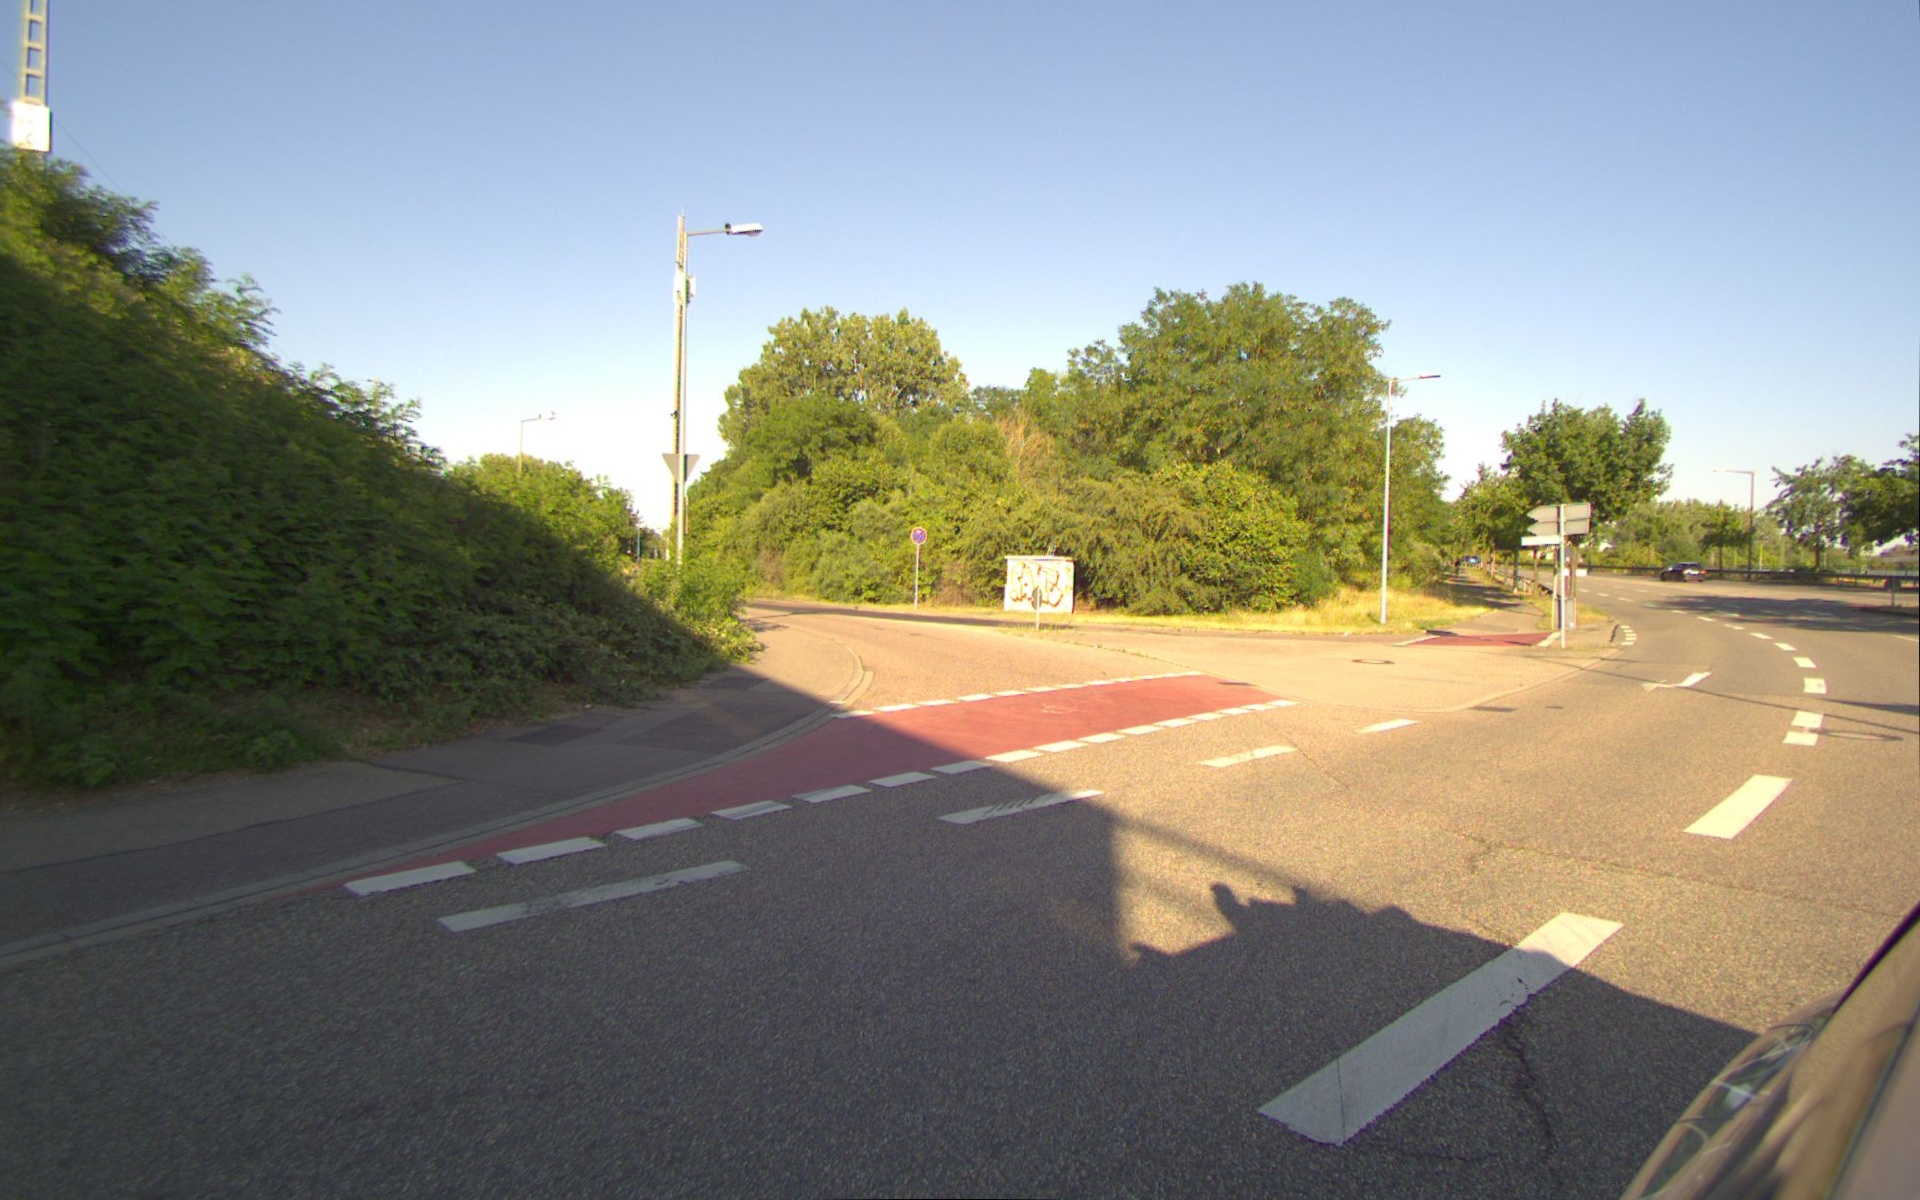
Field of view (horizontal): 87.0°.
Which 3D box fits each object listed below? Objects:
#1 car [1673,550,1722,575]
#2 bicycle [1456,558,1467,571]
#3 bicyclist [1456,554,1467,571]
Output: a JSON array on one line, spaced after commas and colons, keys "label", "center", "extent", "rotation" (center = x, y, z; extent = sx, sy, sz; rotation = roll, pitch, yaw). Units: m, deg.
[{"label": "car", "center": [57.704, -2.917, 79.298], "extent": [1.974, 1.794, 3.976], "rotation": [0, 0, 19]}, {"label": "bicycle", "center": [43.804, -3.116, 88.360], "extent": [0.775, 1.070, 2.473], "rotation": [0, 0, 27]}, {"label": "bicyclist", "center": [43.810, -3.287, 88.364], "extent": [0.836, 1.439, 1.103], "rotation": [0, 0, 28]}]
